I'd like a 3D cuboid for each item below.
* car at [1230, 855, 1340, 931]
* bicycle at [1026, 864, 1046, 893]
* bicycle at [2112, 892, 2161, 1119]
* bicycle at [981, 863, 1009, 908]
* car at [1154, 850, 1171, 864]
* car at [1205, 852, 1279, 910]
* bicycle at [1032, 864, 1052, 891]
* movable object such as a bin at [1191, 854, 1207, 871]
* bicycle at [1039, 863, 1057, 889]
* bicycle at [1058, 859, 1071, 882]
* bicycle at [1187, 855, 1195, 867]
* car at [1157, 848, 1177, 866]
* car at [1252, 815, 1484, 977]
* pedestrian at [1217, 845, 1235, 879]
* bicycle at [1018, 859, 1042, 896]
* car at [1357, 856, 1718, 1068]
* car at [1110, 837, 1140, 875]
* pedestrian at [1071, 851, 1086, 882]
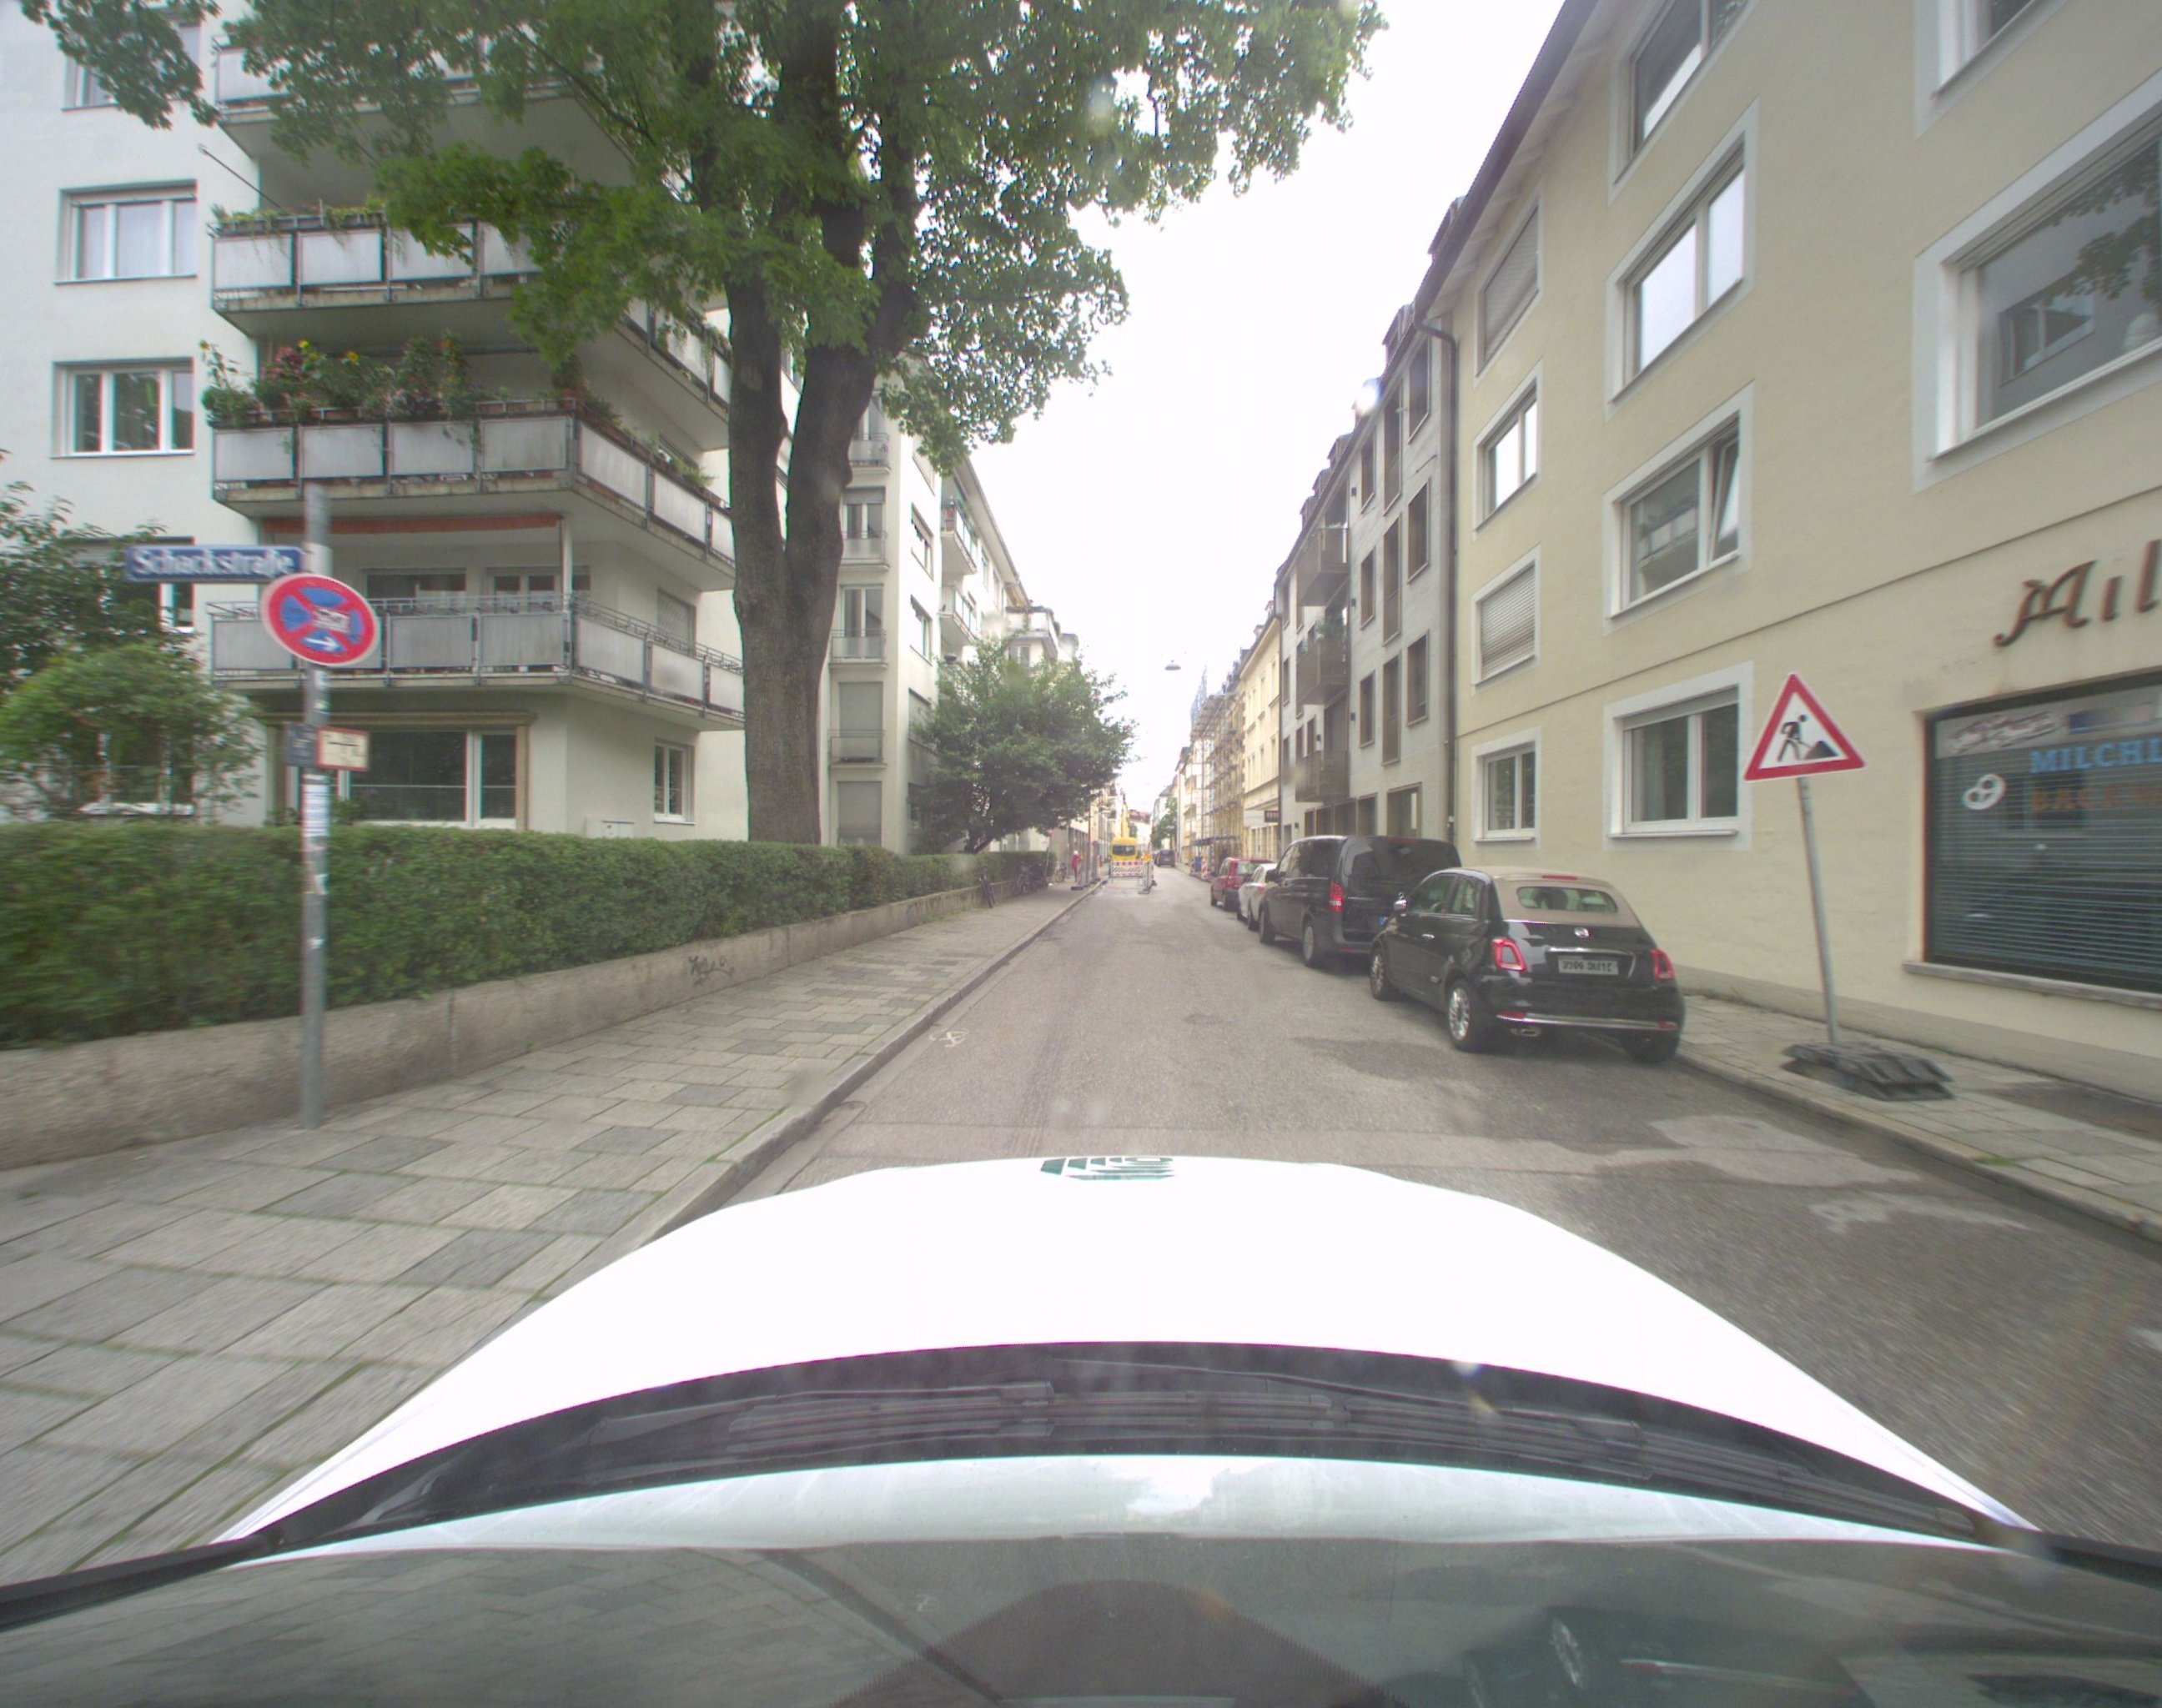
[{"bbox_3d":[4.516,0.791,18.614,1.760,1.461,4.387,2,0,5],"label":"car"},{"bbox_3d":[-1.588,0.856,28.911,0.433,0.978,1.701,3,-1,5],"label":"bicycle"},{"bbox_3d":[5.987,0.808,3.667,0.408,1.214,1.821,-2,-1,4],"label":"bicycle"},{"bbox_3d":[-2.214,0.777,21.004,0.345,1.072,1.782,3,0,4],"label":"bicycle"},{"bbox_3d":[10.030,0.357,100.289,1.886,1.641,4.325,0,0,3],"label":"car"},{"bbox_3d":[4.728,0.741,24.349,1.763,1.524,4.073,2,0,6],"label":"car"},{"bbox_3d":[-1.457,0.860,30.469,0.441,0.978,1.856,3,-1,5],"label":"bicycle"},{"bbox_3d":[9.805,0.691,67.811,1.078,1.346,1.323,-3,0,16],"label":"movable object such as a bin"},{"bbox_3d":[-1.299,0.868,32.331,0.441,0.978,1.818,3,-1,5],"label":"bicycle"},{"bbox_3d":[-0.821,0.827,40.266,0.375,1.063,1.599,6,1,5],"label":"bicycle"},{"bbox_3d":[11.245,0.675,83.285,0.635,1.153,1.918,-3,1,5],"label":"bicycle"},{"bbox_3d":[9.470,0.302,90.286,1.985,1.932,4.664,1,0,3],"label":"car"},{"bbox_3d":[4.130,0.522,12.725,1.983,1.976,4.887,2,0,1],"label":"car"},{"bbox_3d":[7.813,0.427,43.801,0.726,1.752,0.989,-4,0,3],"label":"pedestrian"},{"bbox_3d":[-1.643,0.750,26.443,0.486,1.151,1.701,3,-1,5],"label":"bicycle"},{"bbox_3d":[3.935,0.793,7.744,1.627,1.471,3.542,2,0,4],"label":"car"},{"bbox_3d":[3.165,0.118,58.526,1.985,2.578,6.742,-1,0,3],"label":"car"},{"bbox_3d":[-0.144,0.618,40.672,0.635,1.532,0.748,-1,0,6],"label":"pedestrian"}]
